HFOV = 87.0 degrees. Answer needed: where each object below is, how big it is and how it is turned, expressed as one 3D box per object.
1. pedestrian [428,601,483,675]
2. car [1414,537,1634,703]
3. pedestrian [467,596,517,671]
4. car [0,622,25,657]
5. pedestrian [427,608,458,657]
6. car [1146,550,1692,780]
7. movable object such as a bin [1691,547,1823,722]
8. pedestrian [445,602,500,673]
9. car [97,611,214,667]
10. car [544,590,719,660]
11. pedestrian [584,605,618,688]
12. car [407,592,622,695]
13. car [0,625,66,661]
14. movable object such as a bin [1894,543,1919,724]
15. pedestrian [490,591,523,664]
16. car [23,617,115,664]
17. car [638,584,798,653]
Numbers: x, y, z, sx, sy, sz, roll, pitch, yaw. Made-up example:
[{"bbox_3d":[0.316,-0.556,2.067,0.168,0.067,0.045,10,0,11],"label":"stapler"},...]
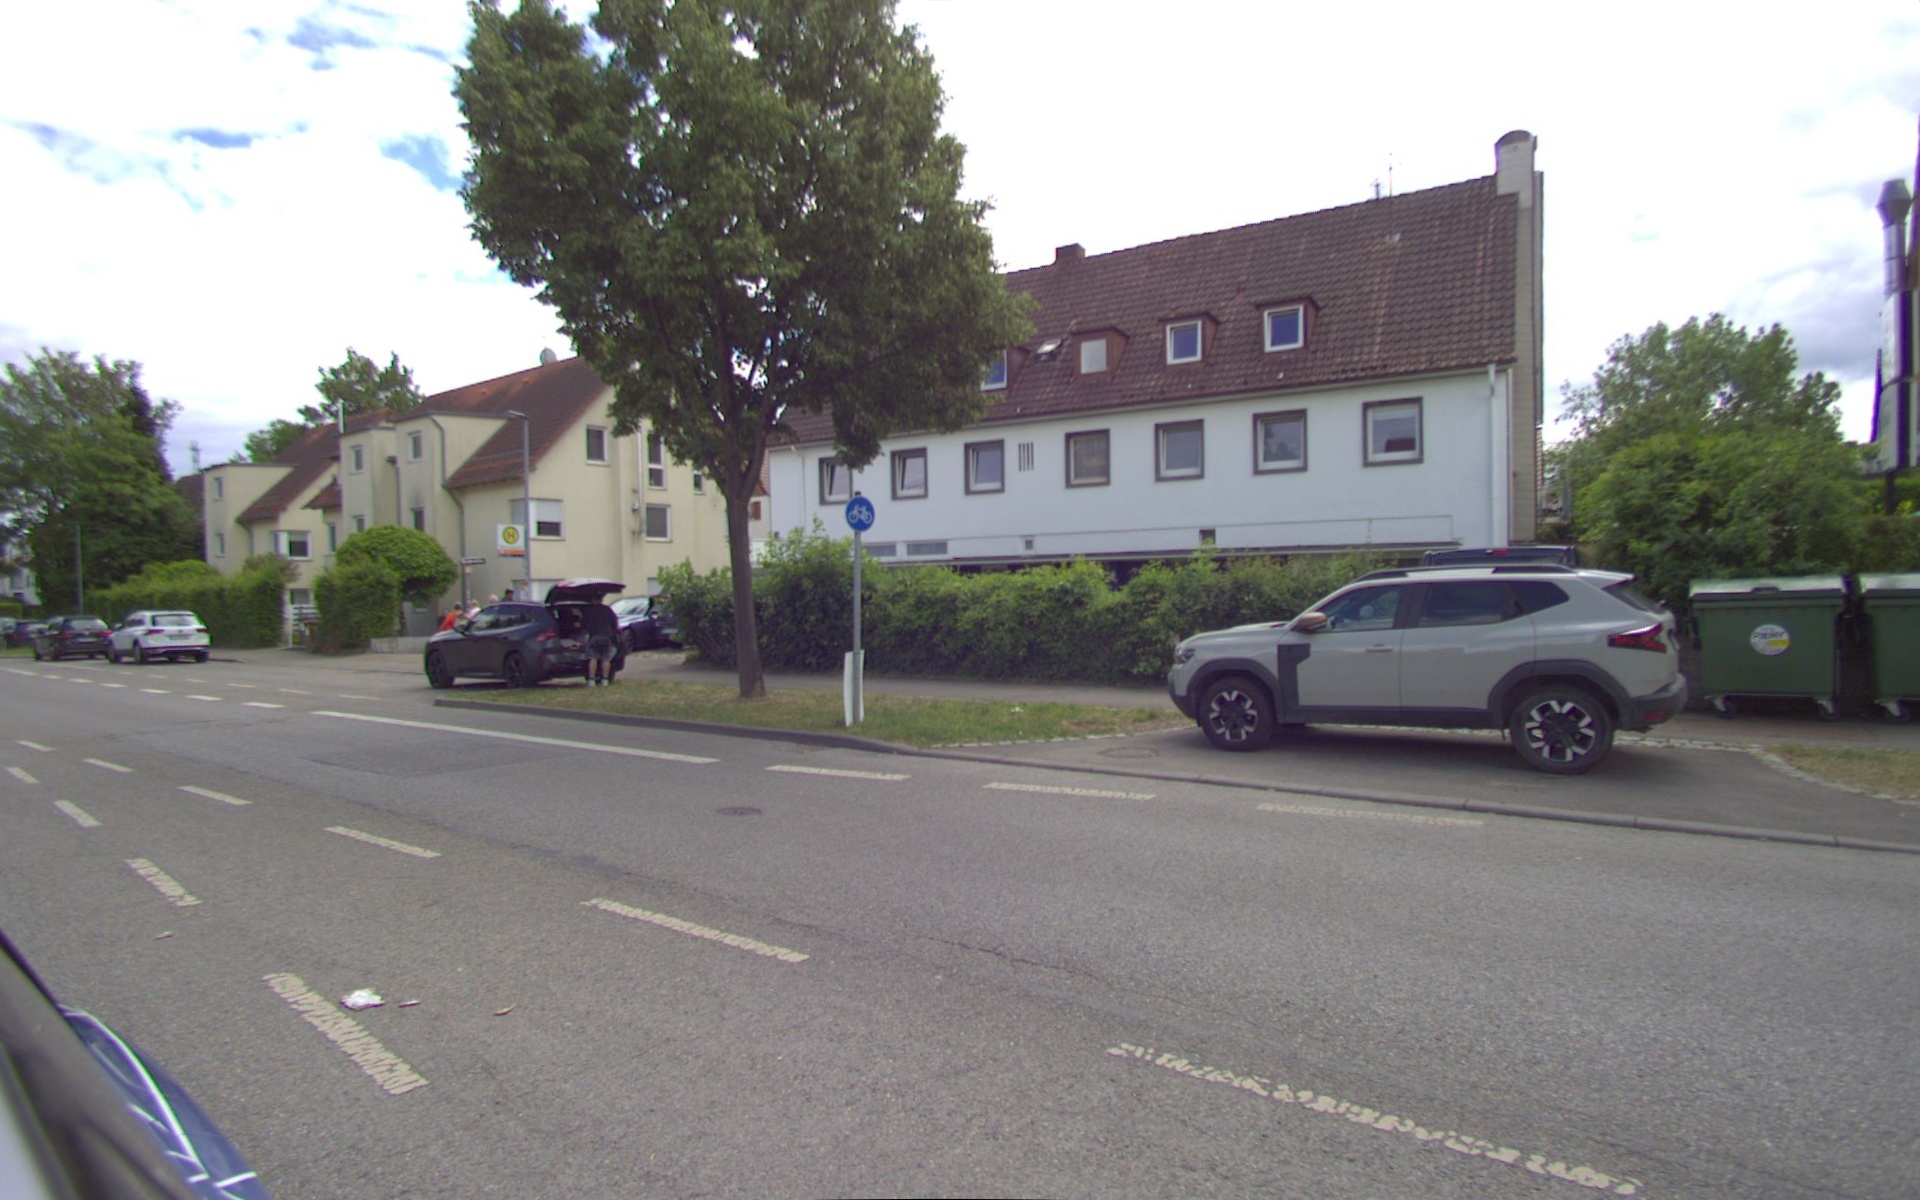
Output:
[{"bbox_3d":[-12.066,0.905,24.212,0.752,1.675,0.781,-1,4,32],"label":"pedestrian"},{"bbox_3d":[7.779,0.216,13.786,1.997,1.906,3.949,-1,0,38],"label":"car"},{"bbox_3d":[-11.071,0.786,23.930,0.590,1.675,0.780,-1,3,37],"label":"pedestrian"},{"bbox_3d":[-45.892,1.869,48.007,3.905,1.625,1.702,-1,0,38],"label":"car"},{"bbox_3d":[-17.016,1.053,33.261,0.836,1.572,0.663,-2,-1,44],"label":"pedestrian"},{"bbox_3d":[4.093,0.488,9.350,4.286,1.666,1.844,-1,0,37],"label":"car"},{"bbox_3d":[8.238,0.316,10.519,0.996,1.663,1.195,-1,2,36],"label":"movable object such as a bin"},{"bbox_3d":[-12.131,0.925,25.195,0.878,1.675,0.781,-1,3,32],"label":"pedestrian"},{"bbox_3d":[-25.907,1.238,32.546,4.577,1.646,1.804,-1,-1,36],"label":"car"},{"bbox_3d":[-8.599,0.615,26.931,2.022,1.565,4.496,-1,1,21],"label":"car"},{"bbox_3d":[-6.454,0.825,18.184,0.545,1.447,0.498,-1,-1,-20],"label":"pedestrian"},{"bbox_3d":[-8.614,0.793,19.412,4.555,1.737,1.709,-1,0,36],"label":"car"},{"bbox_3d":[-41.454,1.864,44.692,4.881,1.496,1.976,-1,-1,36],"label":"car"},{"bbox_3d":[9.661,0.284,9.616,0.996,1.663,1.195,-1,2,36],"label":"movable object such as a bin"},{"bbox_3d":[-11.533,0.701,25.737,0.670,1.819,0.499,-2,0,38],"label":"pedestrian"},{"bbox_3d":[-31.960,1.434,36.264,4.265,1.563,1.661,-1,0,37],"label":"car"},{"bbox_3d":[-6.325,0.450,26.863,1.785,1.493,3.958,-2,2,32],"label":"car"}]
